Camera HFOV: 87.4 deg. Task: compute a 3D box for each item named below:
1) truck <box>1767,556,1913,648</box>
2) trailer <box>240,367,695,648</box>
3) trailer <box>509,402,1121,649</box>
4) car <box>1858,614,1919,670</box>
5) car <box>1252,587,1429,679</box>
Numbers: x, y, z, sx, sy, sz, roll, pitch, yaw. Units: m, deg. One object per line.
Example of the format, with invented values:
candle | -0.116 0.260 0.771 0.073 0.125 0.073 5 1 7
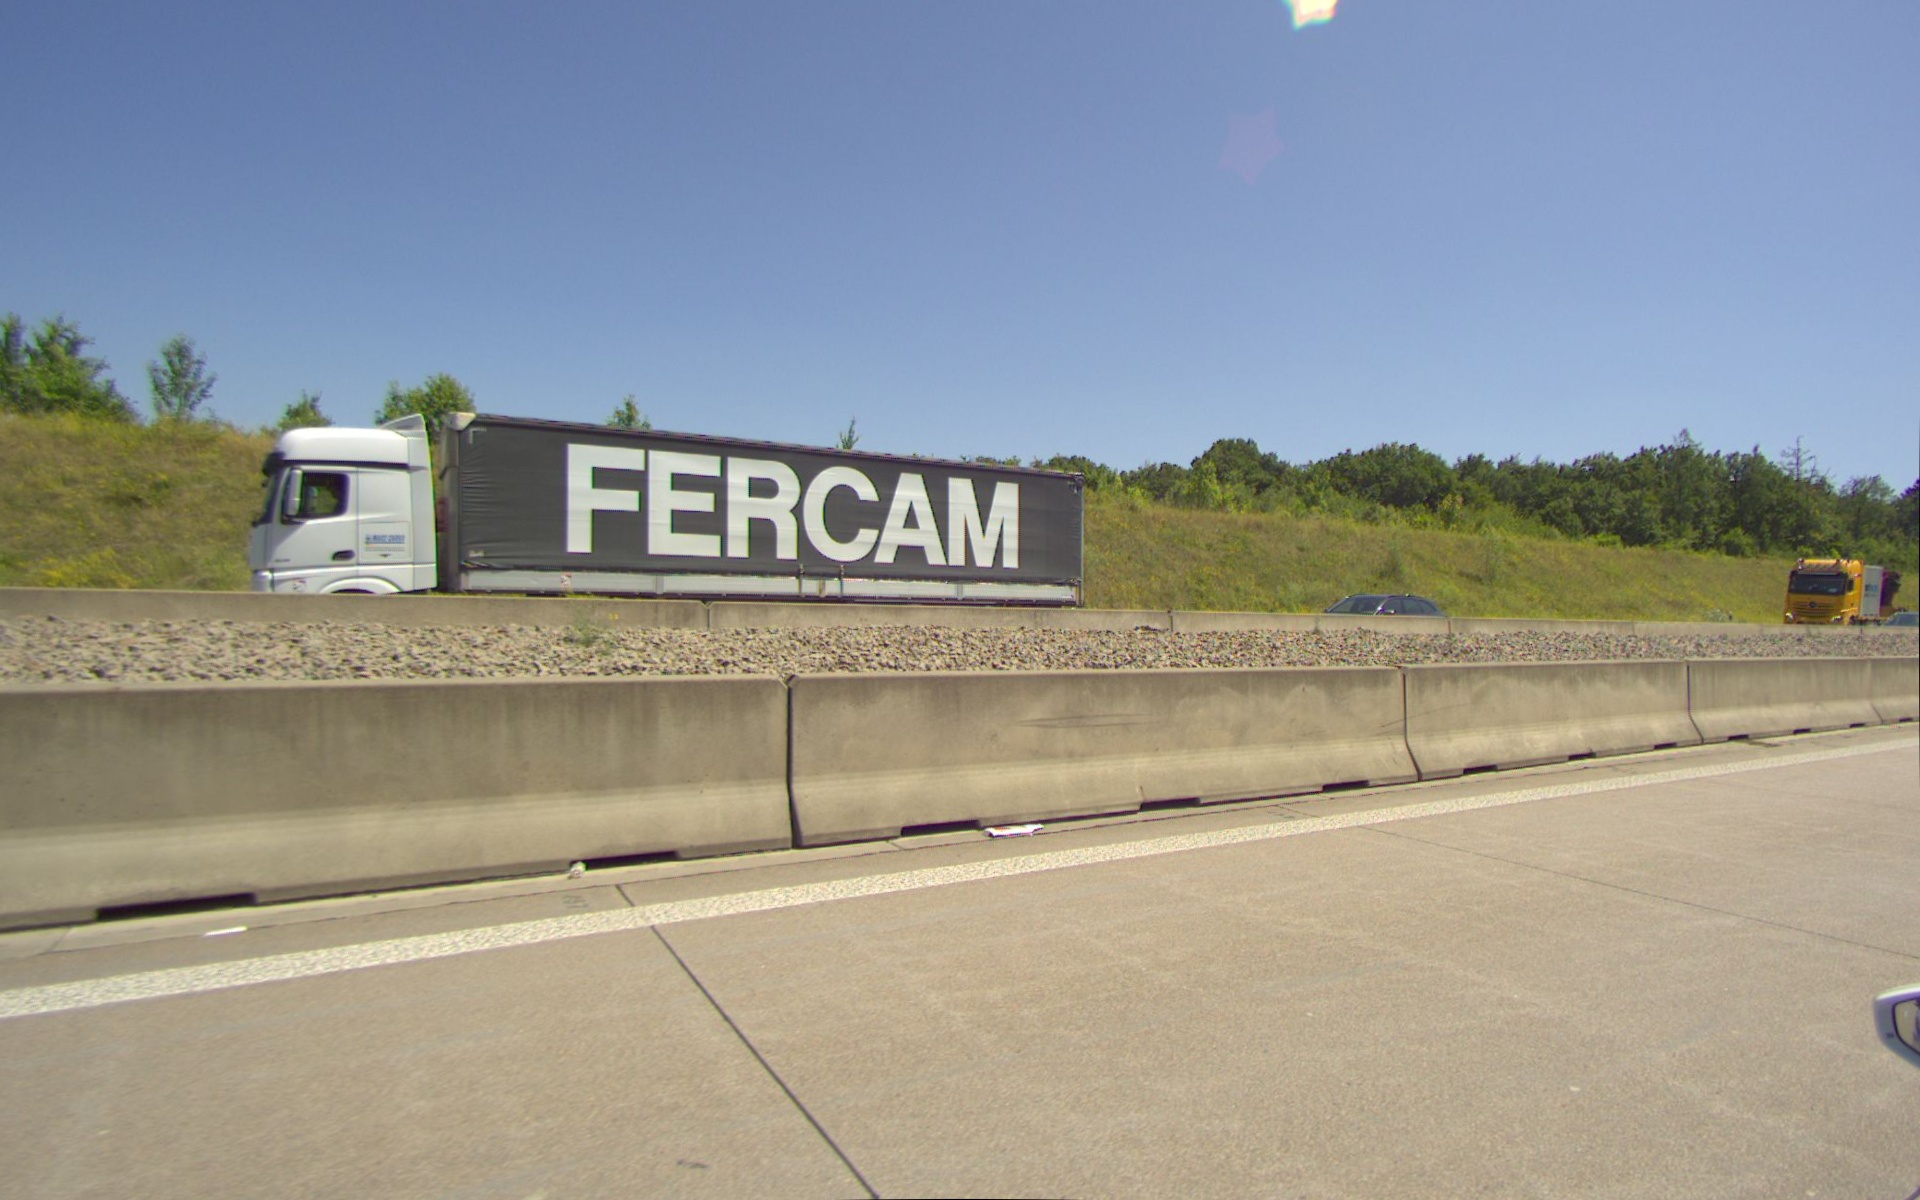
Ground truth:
truck | 47.443 0.206 53.986 11.136 4.573 2.897 1 0 -33
trailer | -8.658 -1.370 18.209 6.812 4.225 2.918 2 2 -31
trailer | -2.533 -1.182 21.942 13.040 4.225 2.918 2 2 -31
car | 36.630 1.609 38.688 3.954 2.040 1.983 1 0 -31
car | 9.230 0.778 24.315 3.954 2.040 1.983 1 0 -31
